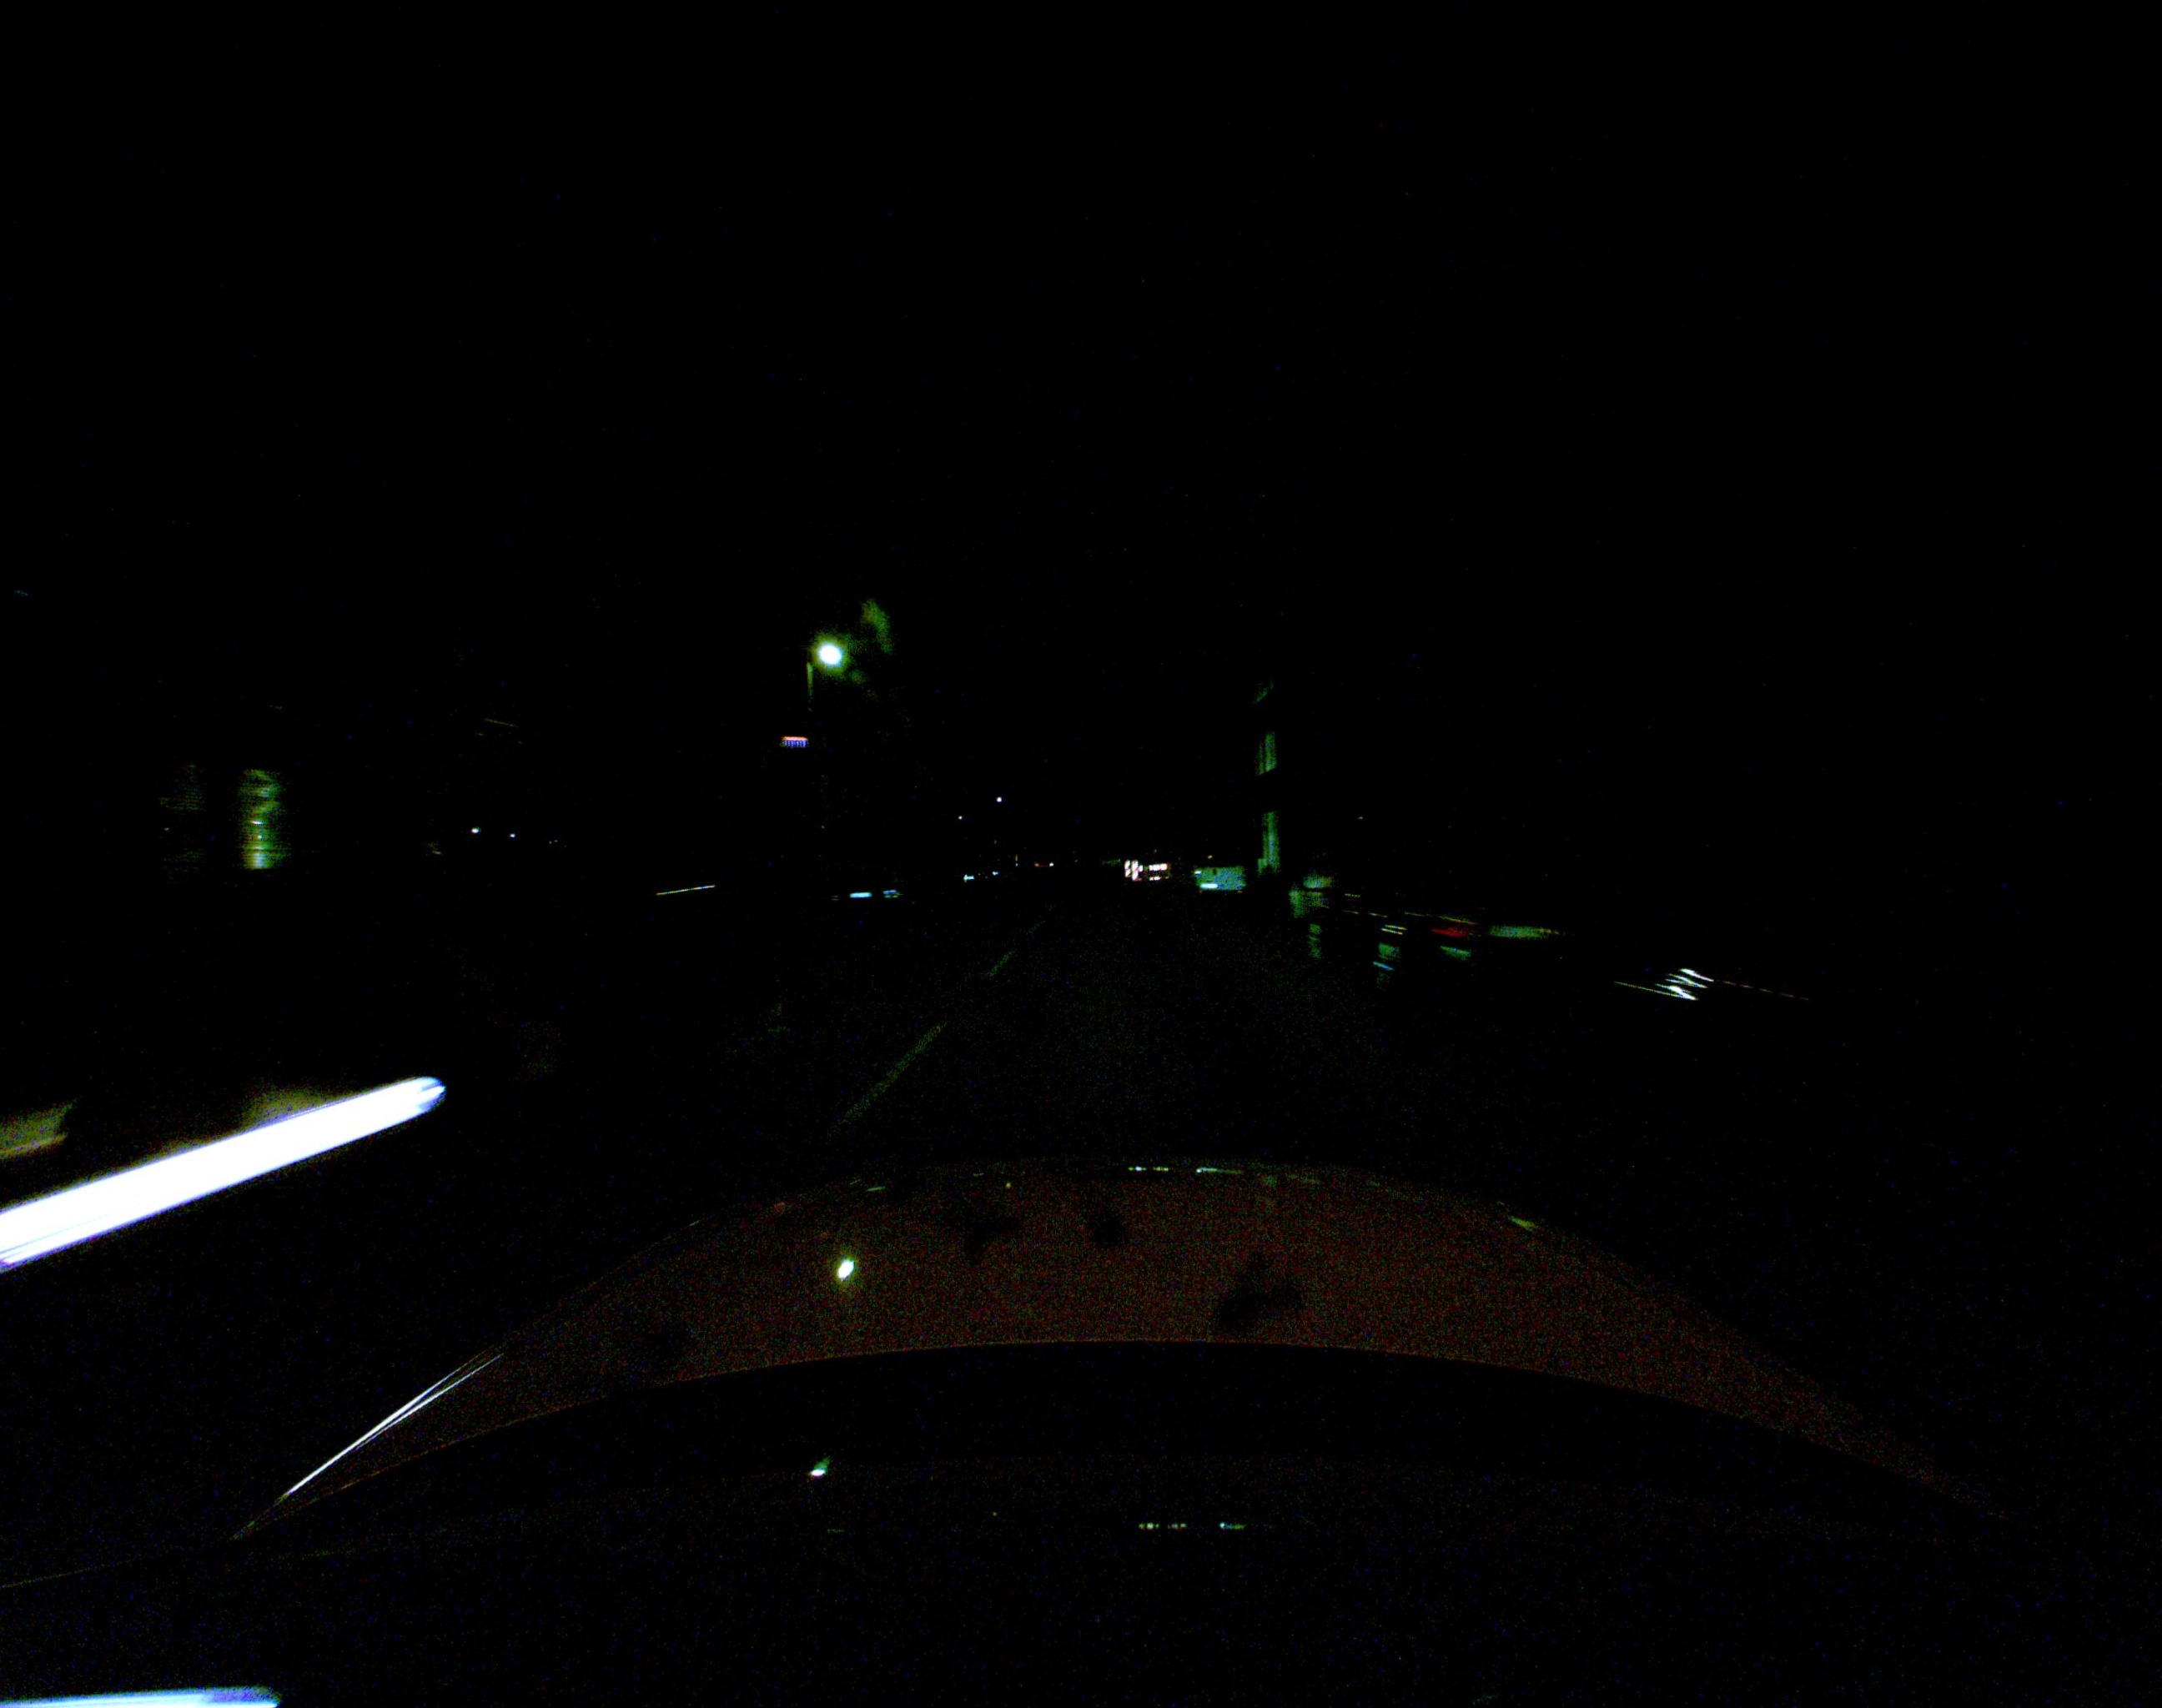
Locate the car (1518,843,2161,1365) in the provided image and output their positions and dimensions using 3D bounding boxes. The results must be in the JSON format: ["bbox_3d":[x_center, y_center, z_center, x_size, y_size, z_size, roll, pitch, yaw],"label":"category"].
[{"bbox_3d":[3.947,0.684,3.642,1.761,1.412,4.555,-2,0,4],"label":"car"}]

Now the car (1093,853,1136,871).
[{"bbox_3d":[3.790,0.880,91.564,4.342,1.646,1.879,-4,1,-21],"label":"car"}]

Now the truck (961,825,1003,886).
[{"bbox_3d":[-7.215,0.154,60.258,2.769,4.120,9.322,-2,0,-6],"label":"truck"}]

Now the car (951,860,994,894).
[{"bbox_3d":[-5.996,1.231,45.541,1.939,1.717,5.192,-2,0,-3],"label":"car"}]

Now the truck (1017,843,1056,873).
[{"bbox_3d":[-6.047,0.590,108.564,2.764,3.783,9.076,-2,-1,-19],"label":"truck"}]

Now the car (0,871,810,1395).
[{"bbox_3d":[-3.115,0.886,4.389,1.851,1.420,4.000,-4,-1,1],"label":"car"}]

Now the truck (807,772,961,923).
[{"bbox_3d":[-6.050,-0.156,26.931,2.738,4.034,9.557,-1,0,0],"label":"truck"}]

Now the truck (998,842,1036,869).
[{"bbox_3d":[-9.426,0.288,118.292,2.764,3.783,10.156,-2,-1,-20],"label":"truck"}]

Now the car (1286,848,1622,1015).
[{"bbox_3d":[4.077,0.720,10.034,1.939,1.489,5.012,-2,0,2],"label":"car"}]

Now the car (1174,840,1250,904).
[{"bbox_3d":[4.572,0.593,29.129,1.986,2.013,4.913,-2,0,1],"label":"car"}]

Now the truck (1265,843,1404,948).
[{"bbox_3d":[4.527,0.685,15.065,1.365,1.644,3.812,-2,-1,0],"label":"truck"}]
